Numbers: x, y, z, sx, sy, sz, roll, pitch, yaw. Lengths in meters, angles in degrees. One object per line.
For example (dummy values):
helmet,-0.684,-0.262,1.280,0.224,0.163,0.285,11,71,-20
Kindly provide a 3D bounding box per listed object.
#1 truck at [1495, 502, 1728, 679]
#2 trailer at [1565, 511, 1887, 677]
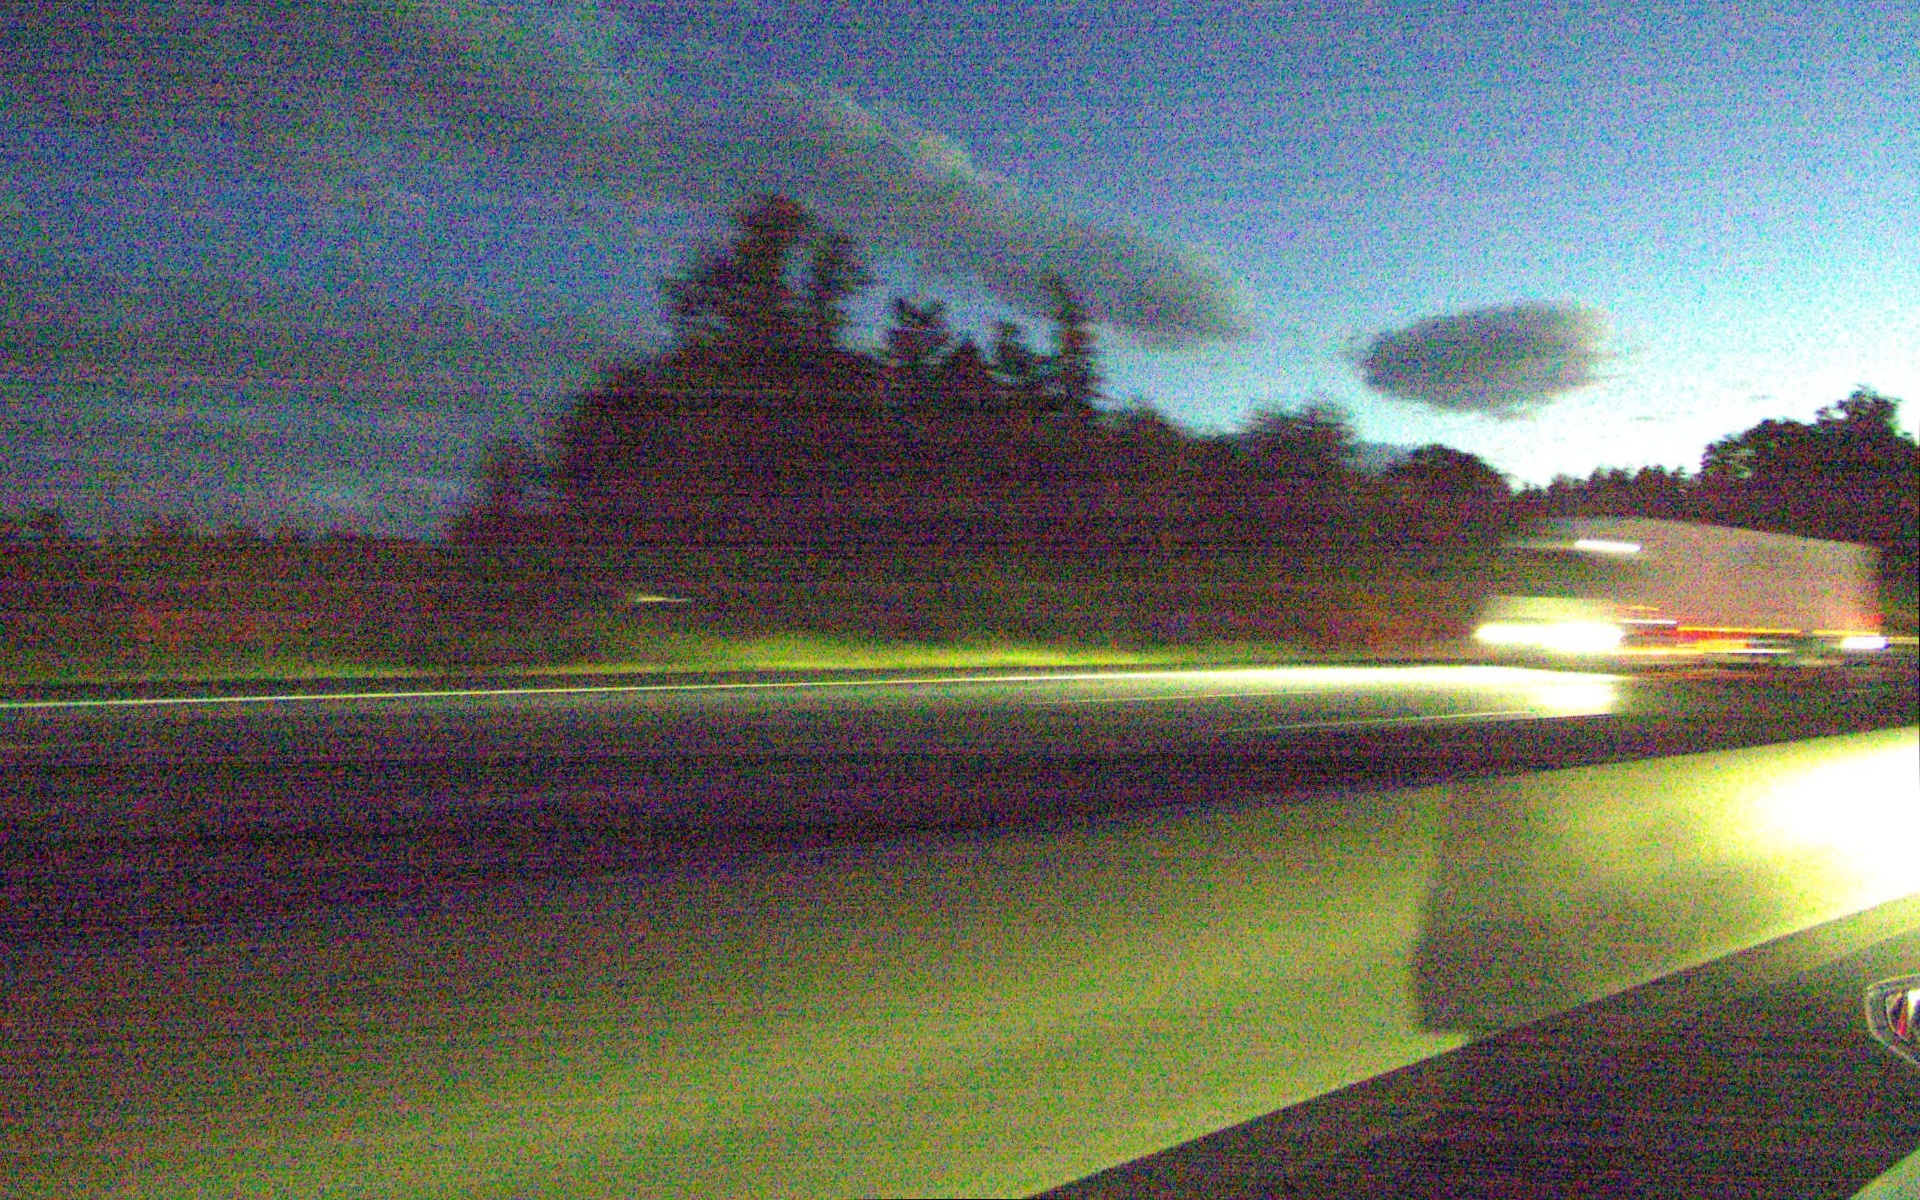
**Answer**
truck,18.421,-0.178,28.351,6.319,4.492,2.840,2,0,-29
trailer,24.643,0.001,31.865,13.811,4.492,2.839,2,0,-29
